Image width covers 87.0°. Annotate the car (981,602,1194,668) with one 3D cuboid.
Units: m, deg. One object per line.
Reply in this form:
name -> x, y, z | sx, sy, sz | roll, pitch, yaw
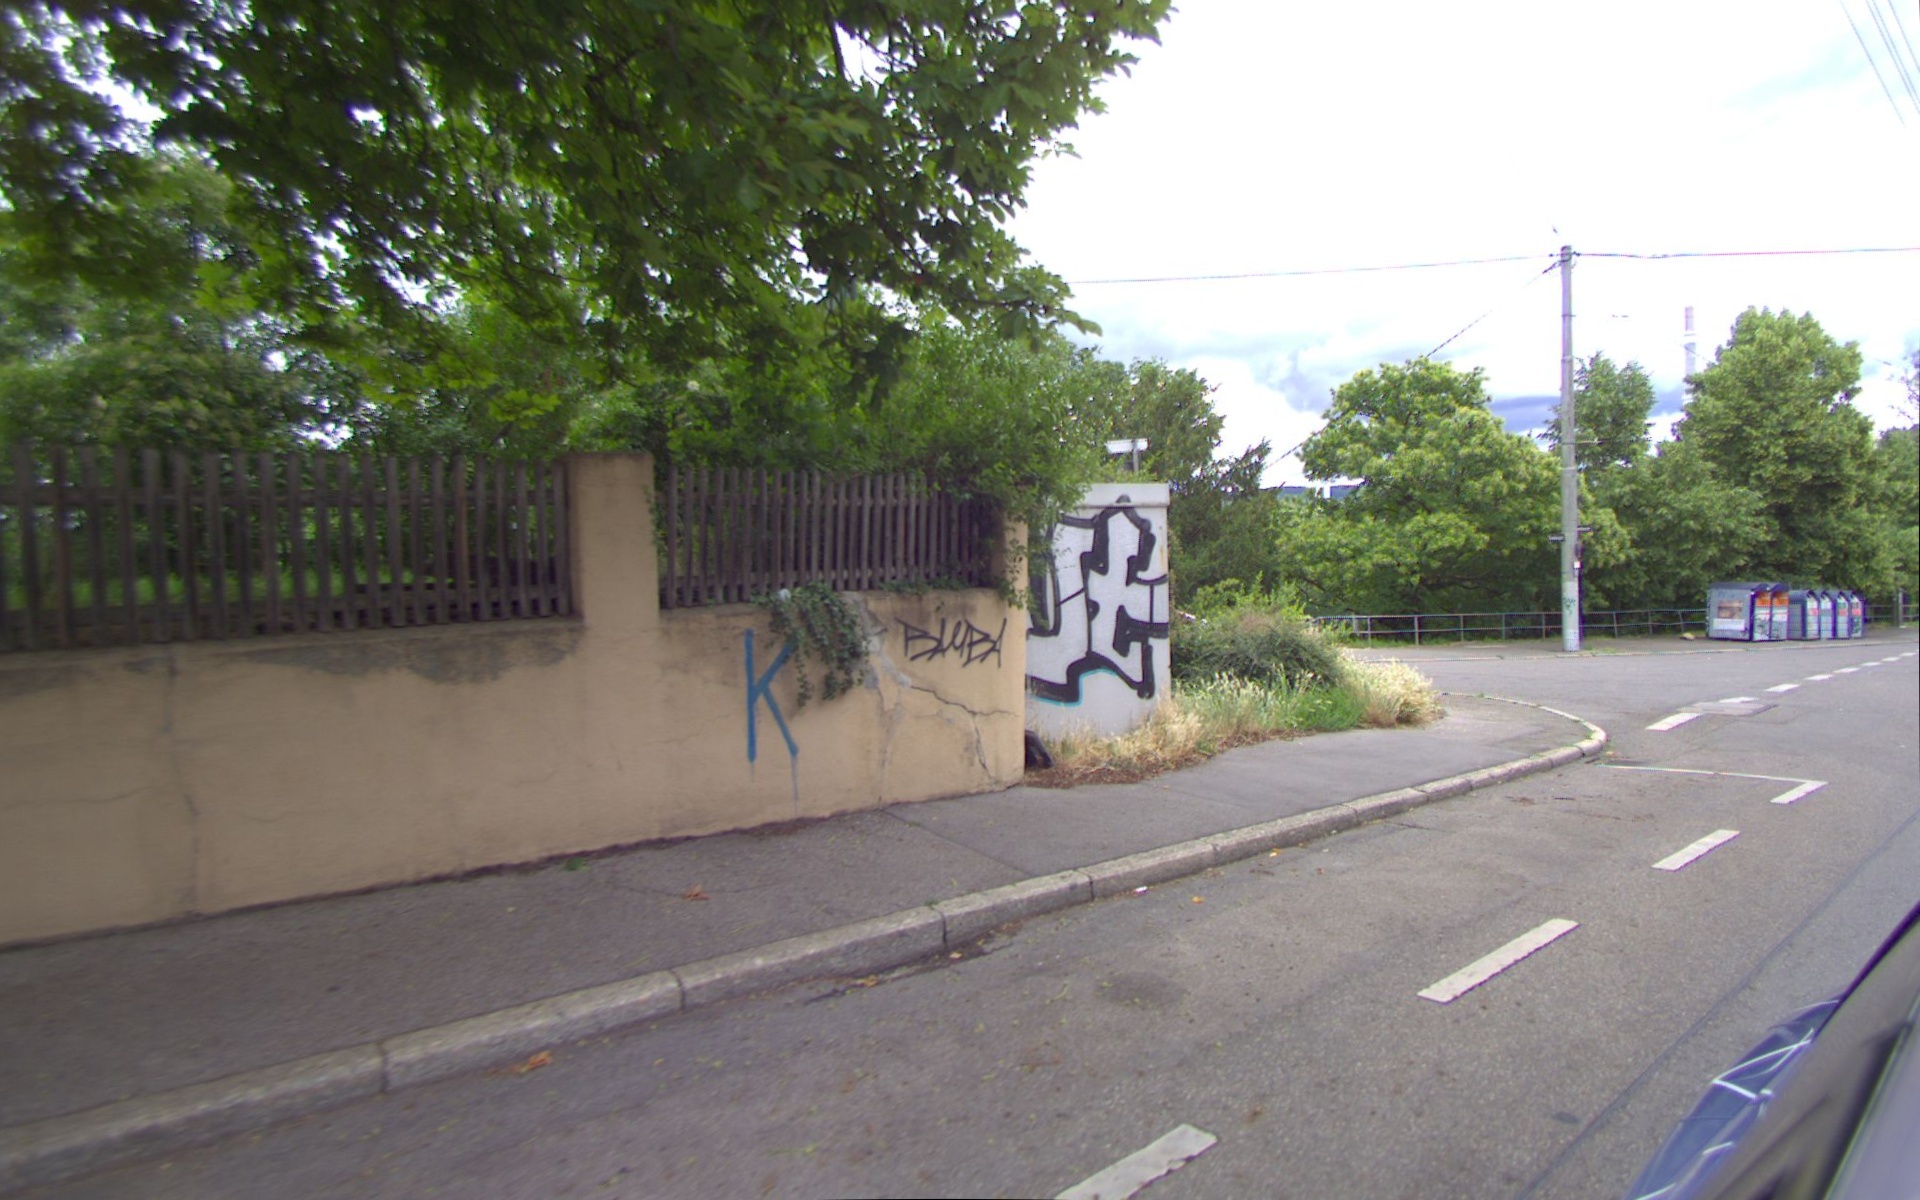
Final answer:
car -> 2.916, 0.803, 23.539 | 4.504, 1.399, 1.903 | 0, -2, -13
